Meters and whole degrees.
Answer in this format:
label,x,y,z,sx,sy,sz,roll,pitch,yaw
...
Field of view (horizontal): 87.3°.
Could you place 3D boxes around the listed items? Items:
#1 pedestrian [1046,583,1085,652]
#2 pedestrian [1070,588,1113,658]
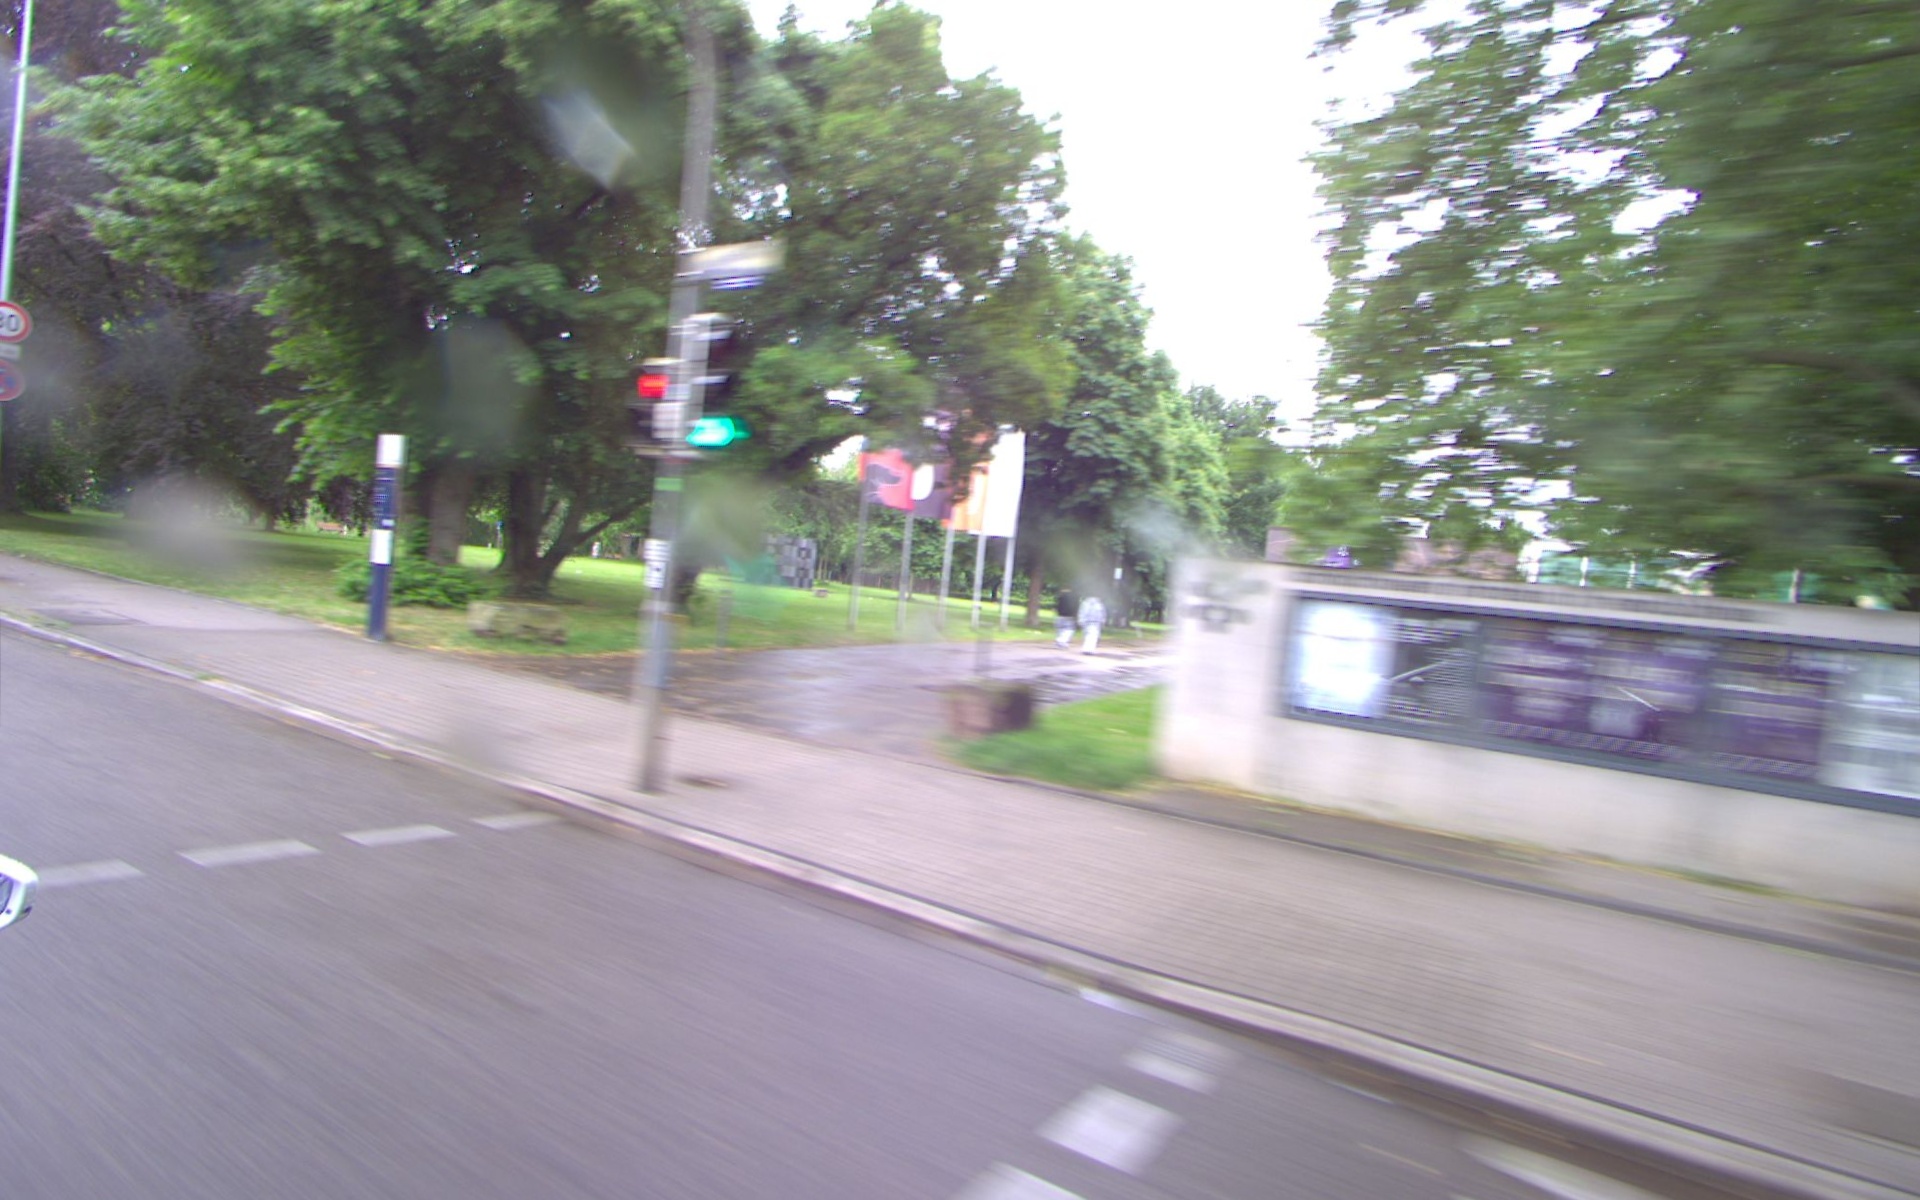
label,x,y,z,sx,sy,sz,roll,pitch,yaw
pedestrian,2.866,0.481,27.259,0.711,1.777,0.666,6,-1,23
pedestrian,3.476,0.613,26.548,0.776,1.732,0.666,6,-1,23
